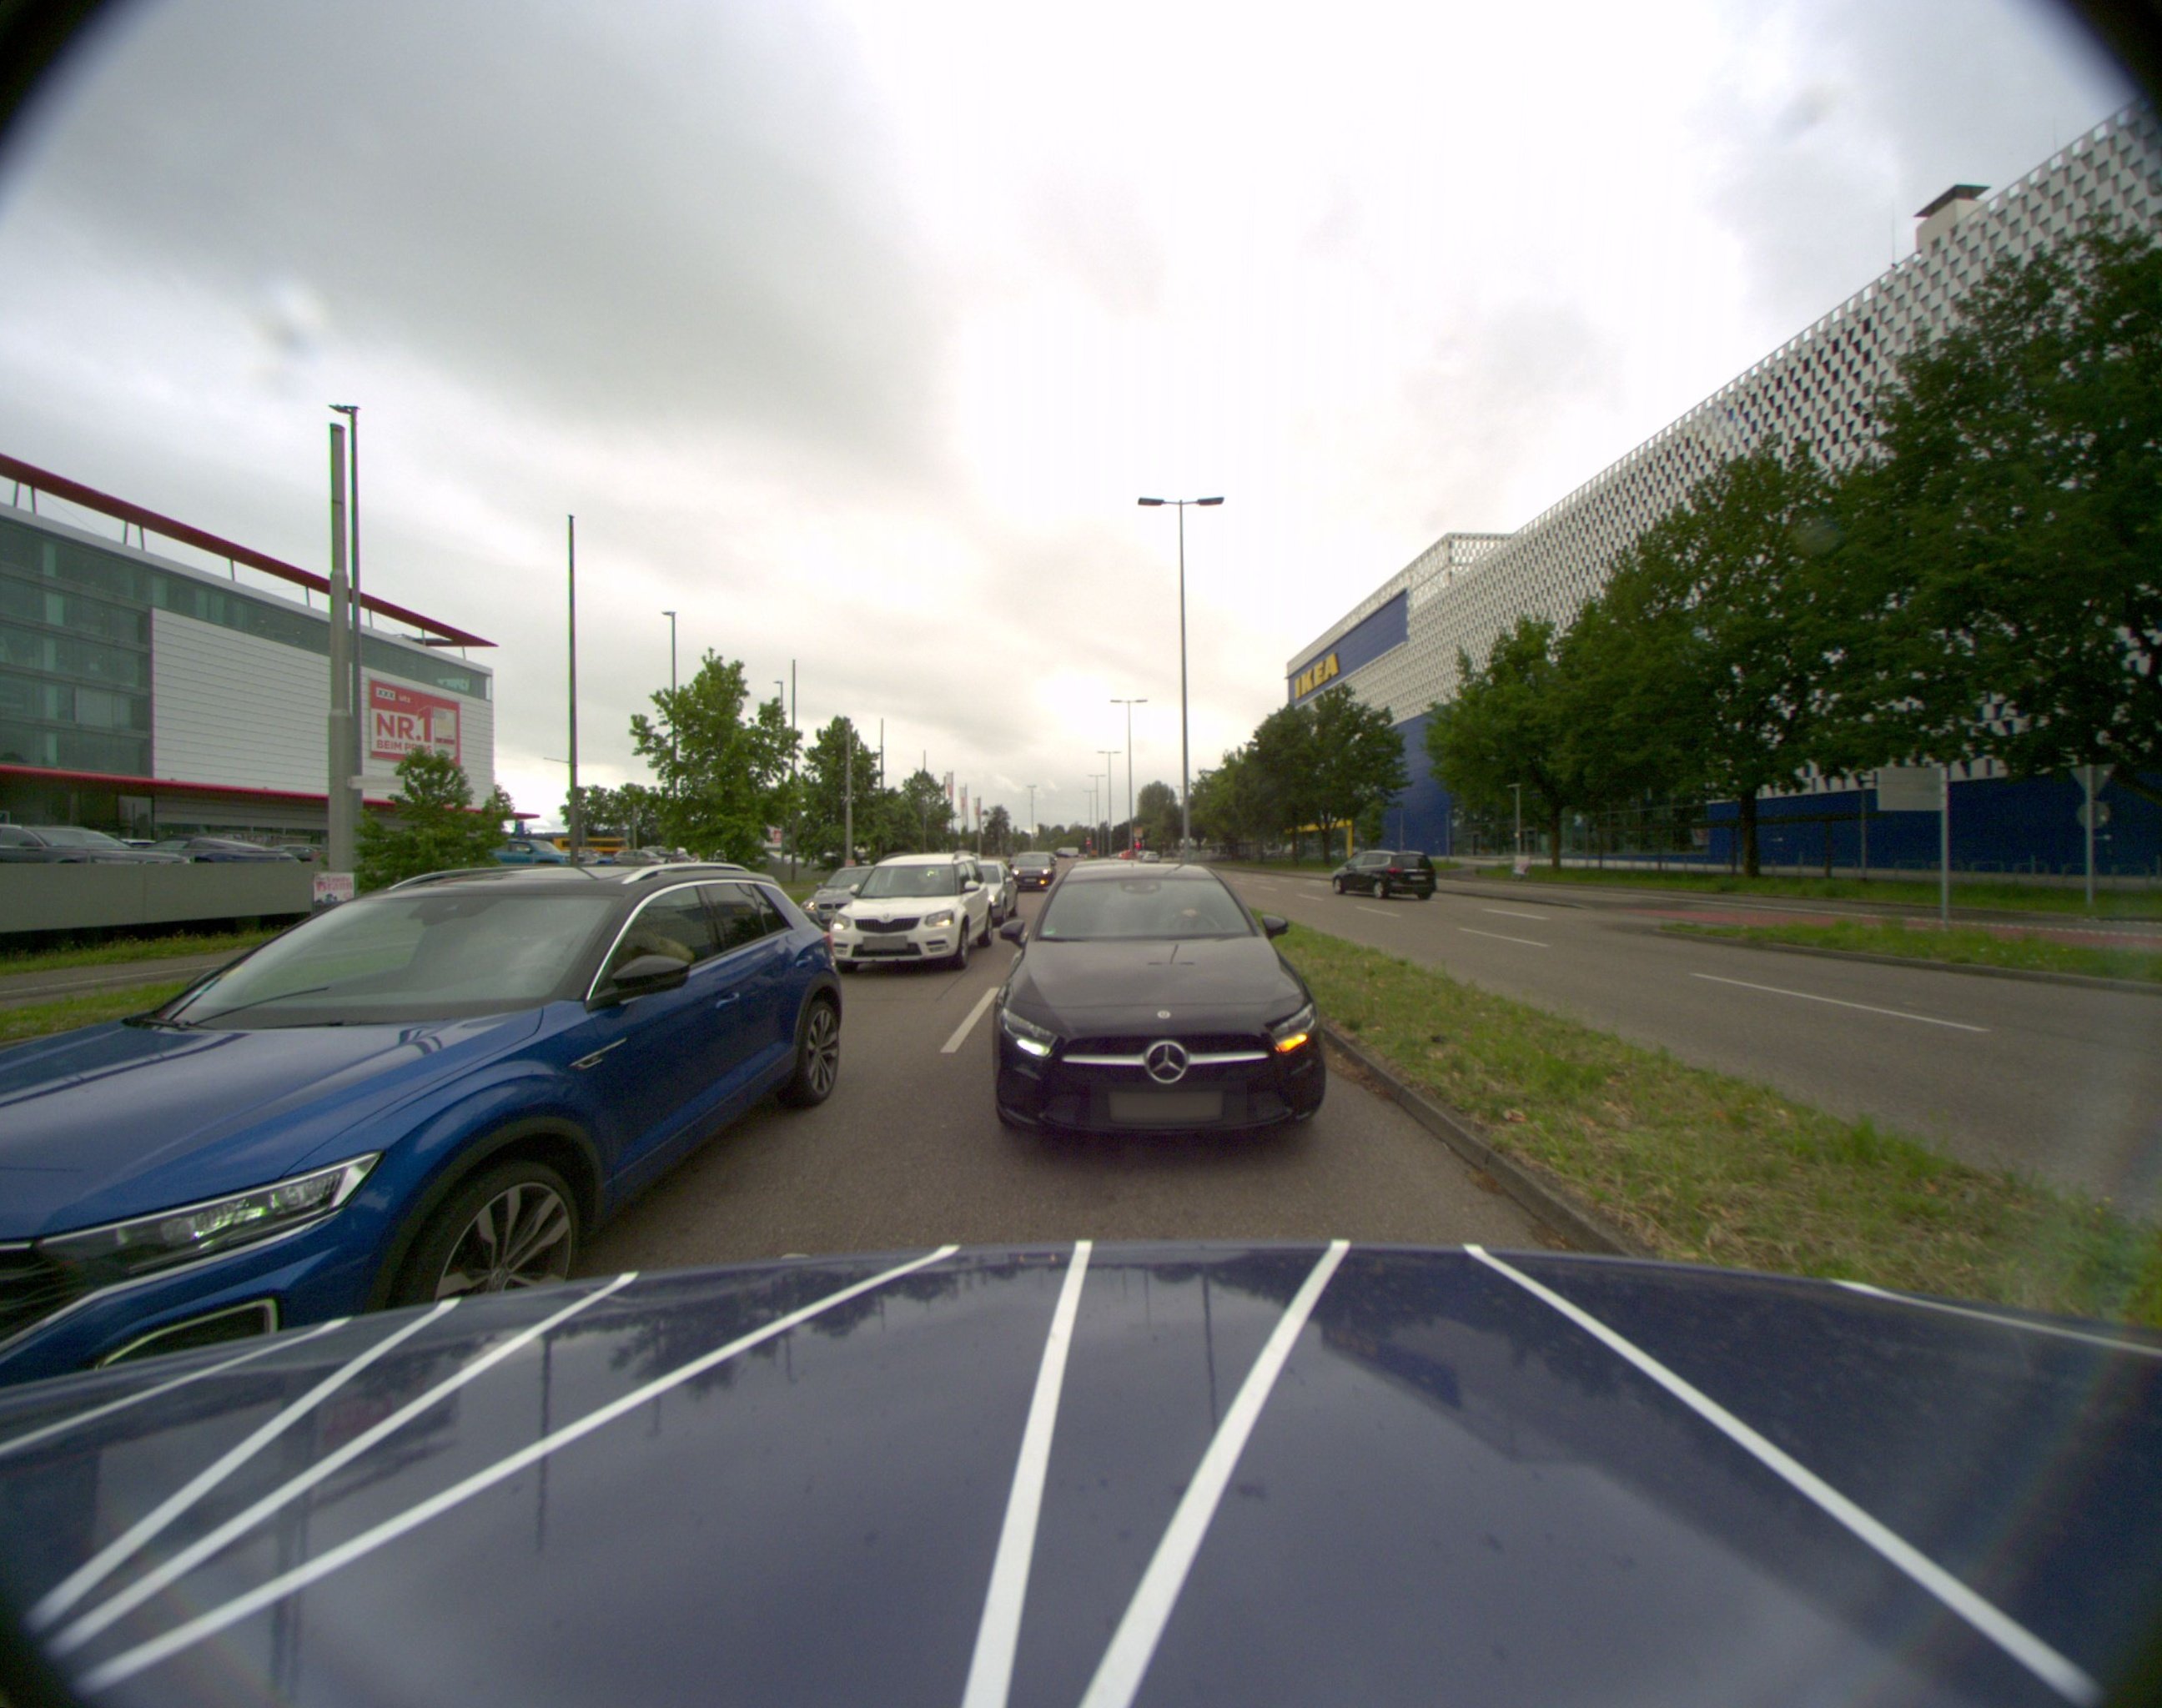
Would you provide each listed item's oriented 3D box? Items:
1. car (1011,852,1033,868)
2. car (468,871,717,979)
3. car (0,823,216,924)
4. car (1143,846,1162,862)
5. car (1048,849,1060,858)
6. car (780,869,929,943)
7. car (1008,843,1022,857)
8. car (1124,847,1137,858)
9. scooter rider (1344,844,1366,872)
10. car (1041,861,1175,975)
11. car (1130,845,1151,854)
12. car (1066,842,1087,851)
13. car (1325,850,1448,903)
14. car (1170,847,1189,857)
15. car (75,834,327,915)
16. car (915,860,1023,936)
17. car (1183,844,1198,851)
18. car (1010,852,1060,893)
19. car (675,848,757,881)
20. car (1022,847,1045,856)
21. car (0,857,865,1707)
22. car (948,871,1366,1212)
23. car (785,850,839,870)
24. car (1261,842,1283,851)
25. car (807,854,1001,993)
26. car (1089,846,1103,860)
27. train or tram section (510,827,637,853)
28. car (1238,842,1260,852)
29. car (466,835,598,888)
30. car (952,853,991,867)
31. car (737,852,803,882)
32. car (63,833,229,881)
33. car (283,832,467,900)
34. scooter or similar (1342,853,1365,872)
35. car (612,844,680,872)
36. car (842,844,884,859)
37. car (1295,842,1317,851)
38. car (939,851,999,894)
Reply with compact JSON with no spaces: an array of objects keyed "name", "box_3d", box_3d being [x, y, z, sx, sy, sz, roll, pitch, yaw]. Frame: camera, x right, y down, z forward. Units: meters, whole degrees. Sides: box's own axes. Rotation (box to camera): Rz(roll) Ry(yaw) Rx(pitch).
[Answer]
[{"name":"car","box_3d":[-6.131,0.659,79.115,1.801,1.564,4.220,-2,-2,1]},{"name":"car","box_3d":[-7.997,1.071,12.947,1.694,1.364,3.925,-2,1,-1]},{"name":"car","box_3d":[-22.564,0.440,16.707,4.529,2.002,1.999,-2,1,-2]},{"name":"car","box_3d":[8.999,-0.049,95.720,1.847,1.876,3.923,-2,1,-1]},{"name":"car","box_3d":[-4.653,-0.114,129.777,1.801,1.407,4.218,-2,1,1]},{"name":"car","box_3d":[-5.021,1.081,17.655,1.816,1.402,4.879,-2,-1,2]},{"name":"car","box_3d":[-10.330,-0.619,120.024,1.999,2.229,3.999,0,0,-2]},{"name":"car","box_3d":[8.324,-0.319,128.587,1.847,1.709,3.923,-2,1,-1]},{"name":"scooter rider","box_3d":[17.394,0.238,48.272,0.798,1.710,1.038,-2,1,-16]},{"name":"car","box_3d":[0.398,0.891,12.453,1.767,1.370,4.258,-2,1,1]},{"name":"car","box_3d":[12.036,-0.825,154.054,3.999,1.786,1.999,0,0,-6]},{"name":"car","box_3d":[-0.995,-1.701,177.500,4.710,2.002,1.998,-2,1,-7]},{"name":"car","box_3d":[10.517,0.711,26.581,1.849,1.646,4.356,1,1,-12]},{"name":"car","box_3d":[22.356,-0.514,172.842,3.997,2.002,1.999,-2,1,-2]},{"name":"car","box_3d":[-22.633,0.486,19.697,3.998,1.838,1.999,-2,1,-2]},{"name":"car","box_3d":[-2.471,0.932,17.791,1.801,1.407,4.218,-2,1,1]},{"name":"car","box_3d":[34.367,-2.076,239.067,4.290,1.813,1.743,-2,1,-3]},{"name":"car","box_3d":[-1.913,0.750,33.060,1.801,1.565,4.218,-2,1,1]},{"name":"car","box_3d":[-24.015,0.663,50.146,4.324,2.002,1.999,-2,1,-2]},{"name":"car","box_3d":[-11.152,-0.580,178.680,5.089,2.002,1.999,-2,1,-2]},{"name":"car","box_3d":[-2.573,0.899,3.321,1.846,1.612,4.332,-2,1,2]},{"name":"car","box_3d":[0.375,0.908,5.575,1.859,1.426,4.196,-2,0,1]},{"name":"car","box_3d":[-23.590,0.476,66.671,3.997,1.556,1.796,-2,1,1]},{"name":"car","box_3d":[40.126,-1.618,159.864,3.999,1.805,1.998,-2,1,-7]},{"name":"car","box_3d":[-2.448,0.880,11.720,1.798,1.615,4.374,-2,1,2]},{"name":"car","box_3d":[2.333,-0.161,118.750,1.999,2.206,3.999,0,0,-2]},{"name":"train or tram section","box_3d":[-105.617,-2.861,158.550,23.275,4.811,3.631,-1,1,-3]},{"name":"car","box_3d":[30.386,-1.244,137.219,3.565,1.630,1.743,-2,1,-3]},{"name":"car","box_3d":[-23.135,0.297,32.157,3.997,2.002,1.999,-2,1,-2]},{"name":"car","box_3d":[-12.852,0.731,89.524,4.216,1.407,1.802,-2,1,0]},{"name":"car","box_3d":[-23.214,0.934,56.835,3.997,2.002,2.000,-2,1,0]},{"name":"car","box_3d":[-37.659,0.101,30.696,3.998,1.729,1.999,-2,1,-2]},{"name":"car","box_3d":[-23.089,0.373,24.995,3.997,2.002,1.999,-2,1,-2]},{"name":"scooter or similar","box_3d":[17.348,0.520,48.345,0.590,1.119,1.423,-5,2,-16]},{"name":"car","box_3d":[-33.793,0.277,59.124,3.997,2.002,1.999,-2,1,-2]},{"name":"car","box_3d":[-24.123,-0.279,84.143,3.997,1.556,1.796,-2,1,1]},{"name":"car","box_3d":[47.654,-1.561,160.761,3.999,1.805,1.998,-2,1,-7]},{"name":"car","box_3d":[-4.798,0.736,33.045,1.798,1.615,4.374,-2,1,2]}]
